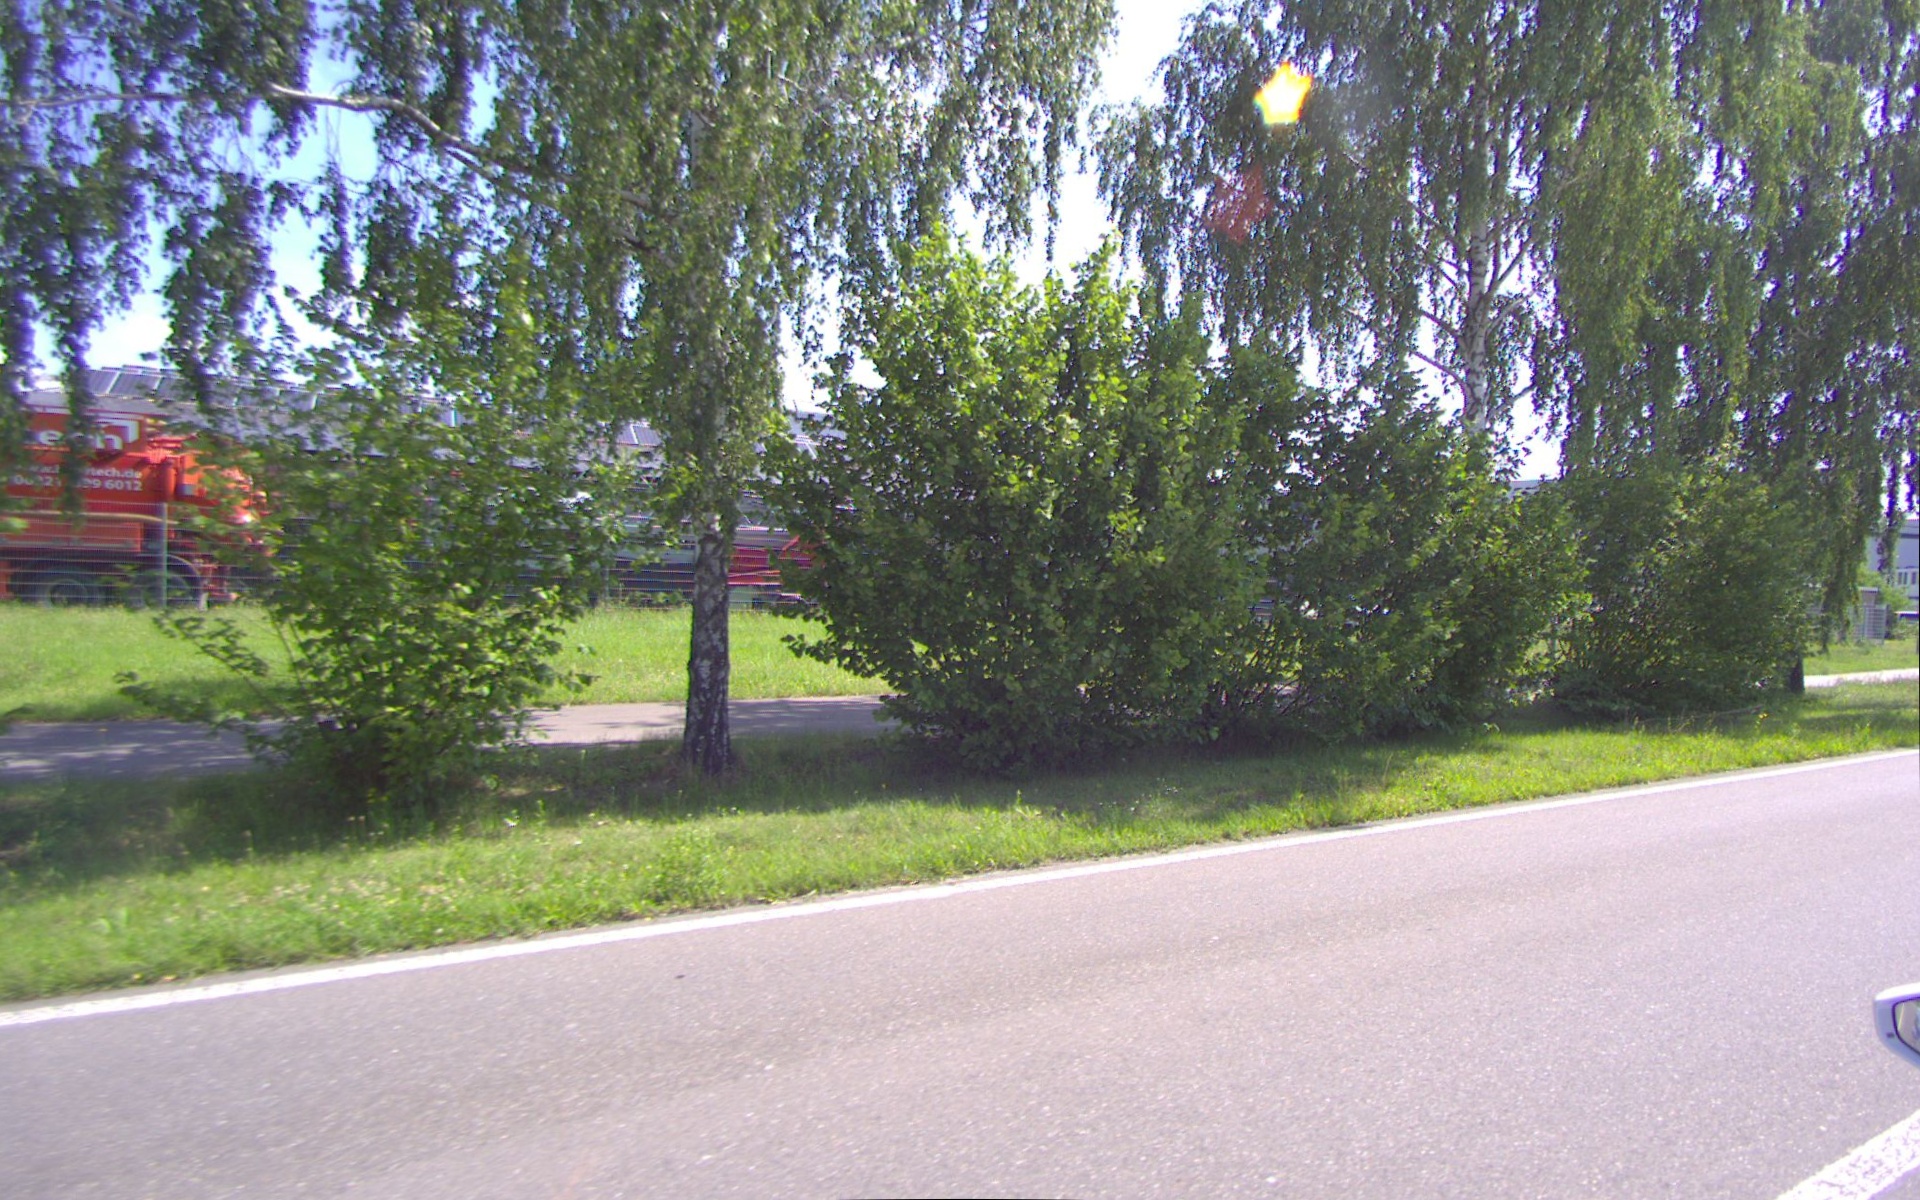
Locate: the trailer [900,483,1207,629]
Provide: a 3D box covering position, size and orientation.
[{"bbox_3d":[2.838,-1.127,29.684,8.551,3.693,3.385,2,1,-28],"label":"trailer"}]

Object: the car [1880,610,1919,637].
[{"bbox_3d":[72.725,1.836,75.408,4.923,1.892,1.999,3,2,21],"label":"car"}]

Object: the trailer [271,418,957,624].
[{"bbox_3d":[-7.349,-1.441,24.084,14.740,3.693,3.276,2,1,-29],"label":"trailer"}]

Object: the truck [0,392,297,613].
[{"bbox_3d":[-18.361,-1.781,17.996,10.462,3.693,3.088,2,1,-28],"label":"truck"}]
